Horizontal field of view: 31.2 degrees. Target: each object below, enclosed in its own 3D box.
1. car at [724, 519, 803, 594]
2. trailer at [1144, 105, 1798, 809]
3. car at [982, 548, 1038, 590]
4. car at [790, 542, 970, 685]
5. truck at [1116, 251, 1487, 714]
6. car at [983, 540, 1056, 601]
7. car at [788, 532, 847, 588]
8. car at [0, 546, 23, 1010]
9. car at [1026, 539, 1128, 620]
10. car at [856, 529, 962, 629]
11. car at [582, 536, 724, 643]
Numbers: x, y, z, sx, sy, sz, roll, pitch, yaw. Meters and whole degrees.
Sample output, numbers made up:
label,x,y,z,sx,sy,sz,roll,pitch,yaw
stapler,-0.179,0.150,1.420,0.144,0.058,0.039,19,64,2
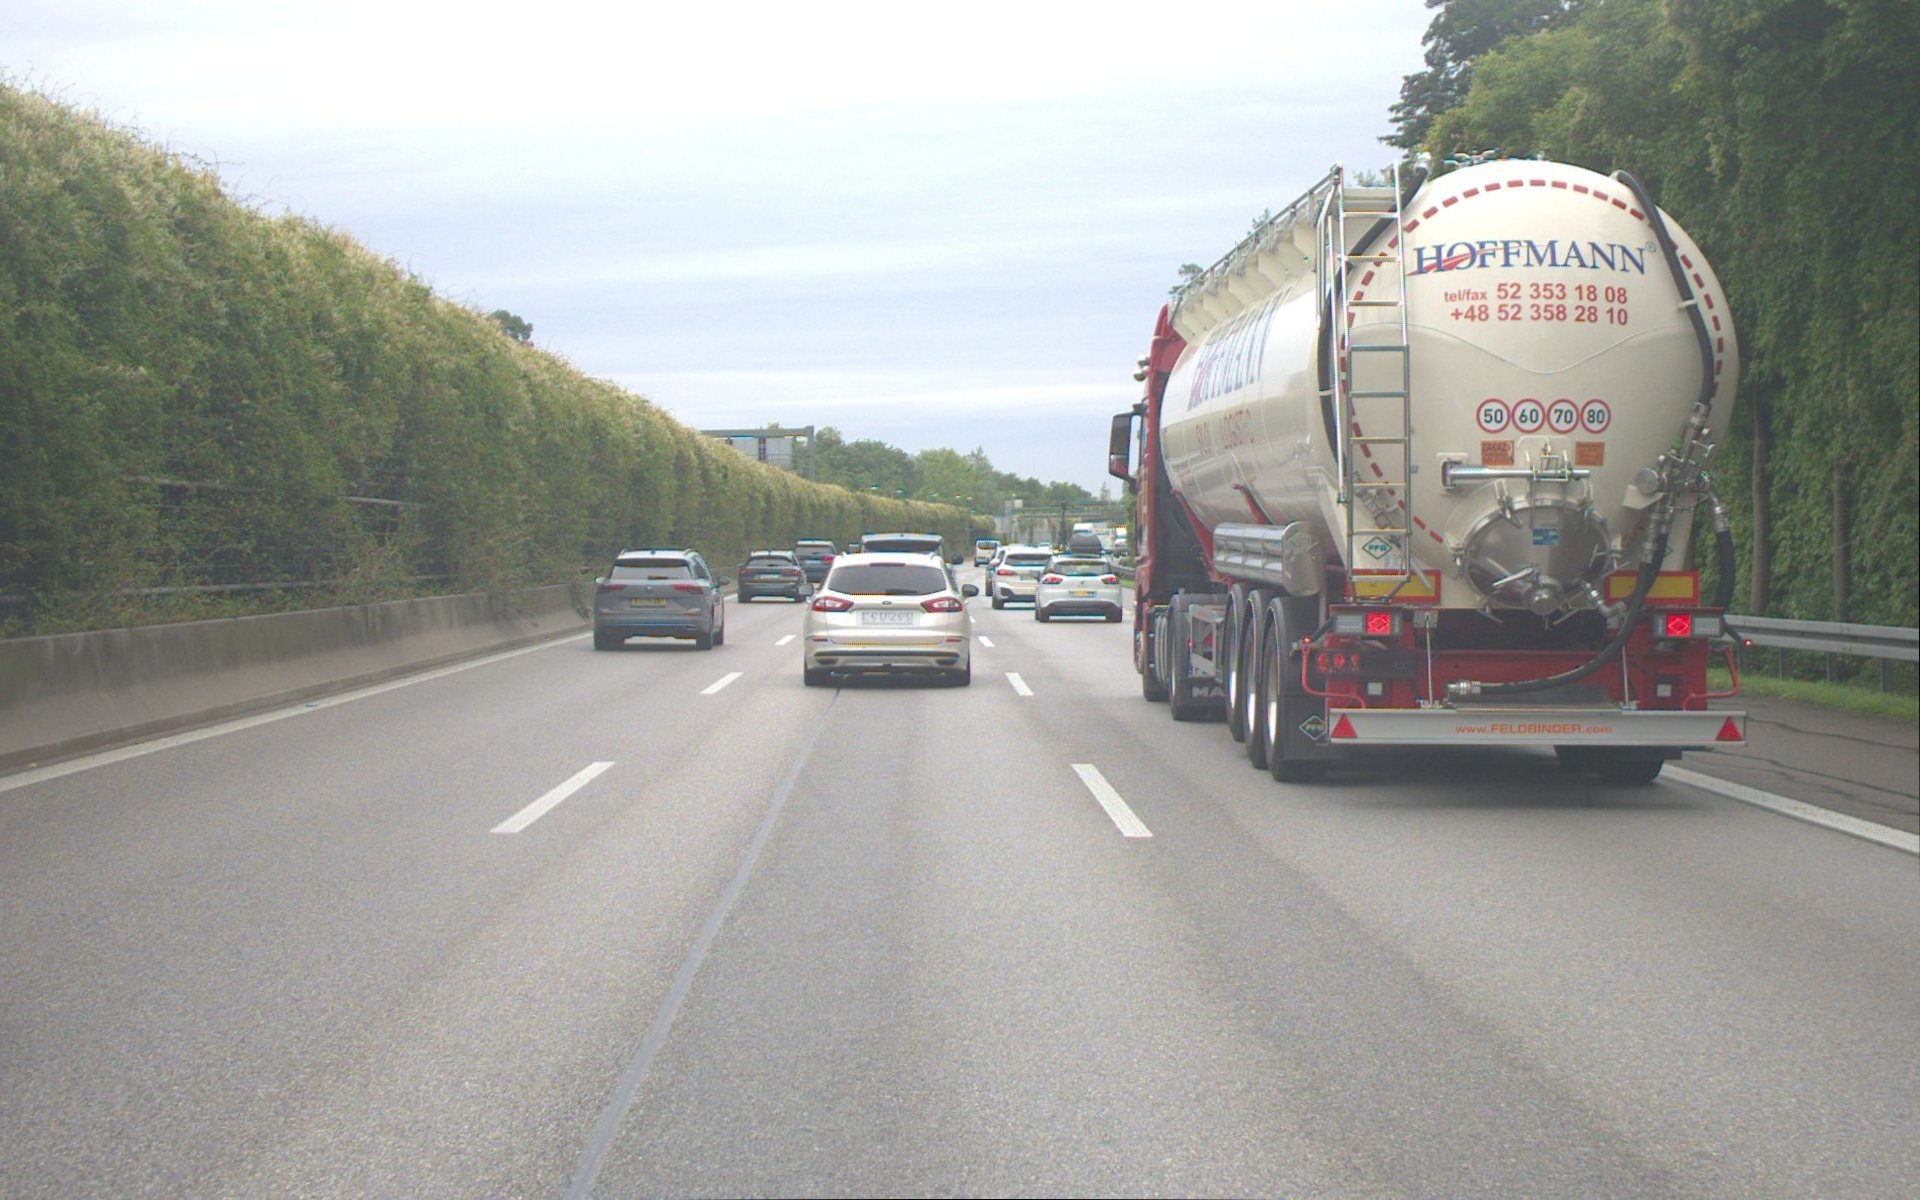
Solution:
label,x,y,z,sx,sy,sz,roll,pitch,yaw
car,-5.434,-1.215,95.542,1.993,2.007,3.841,1,1,-1
trailer,3.217,-0.862,25.855,2.668,3.925,13.131,1,1,-1
car,1.619,-1.008,111.896,1.689,1.326,3.871,1,0,-1
car,-0.915,0.106,39.071,1.891,1.499,5.030,1,1,-1
truck,3.065,-1.032,32.599,2.695,3.899,6.557,1,0,-1
car,1.488,-0.762,87.711,1.689,1.501,3.871,1,0,-1
car,-5.171,-1.472,125.169,1.993,2.007,4.000,1,1,-1
car,-3.862,0.611,8.573,1.720,1.464,5.030,1,1,-1
car,2.421,-0.461,72.417,1.816,1.620,5.030,1,1,-2
car,-0.882,-0.397,60.869,1.689,1.501,3.872,5,2,0
car,-4.565,-0.193,51.733,1.720,1.507,5.030,1,1,-1
